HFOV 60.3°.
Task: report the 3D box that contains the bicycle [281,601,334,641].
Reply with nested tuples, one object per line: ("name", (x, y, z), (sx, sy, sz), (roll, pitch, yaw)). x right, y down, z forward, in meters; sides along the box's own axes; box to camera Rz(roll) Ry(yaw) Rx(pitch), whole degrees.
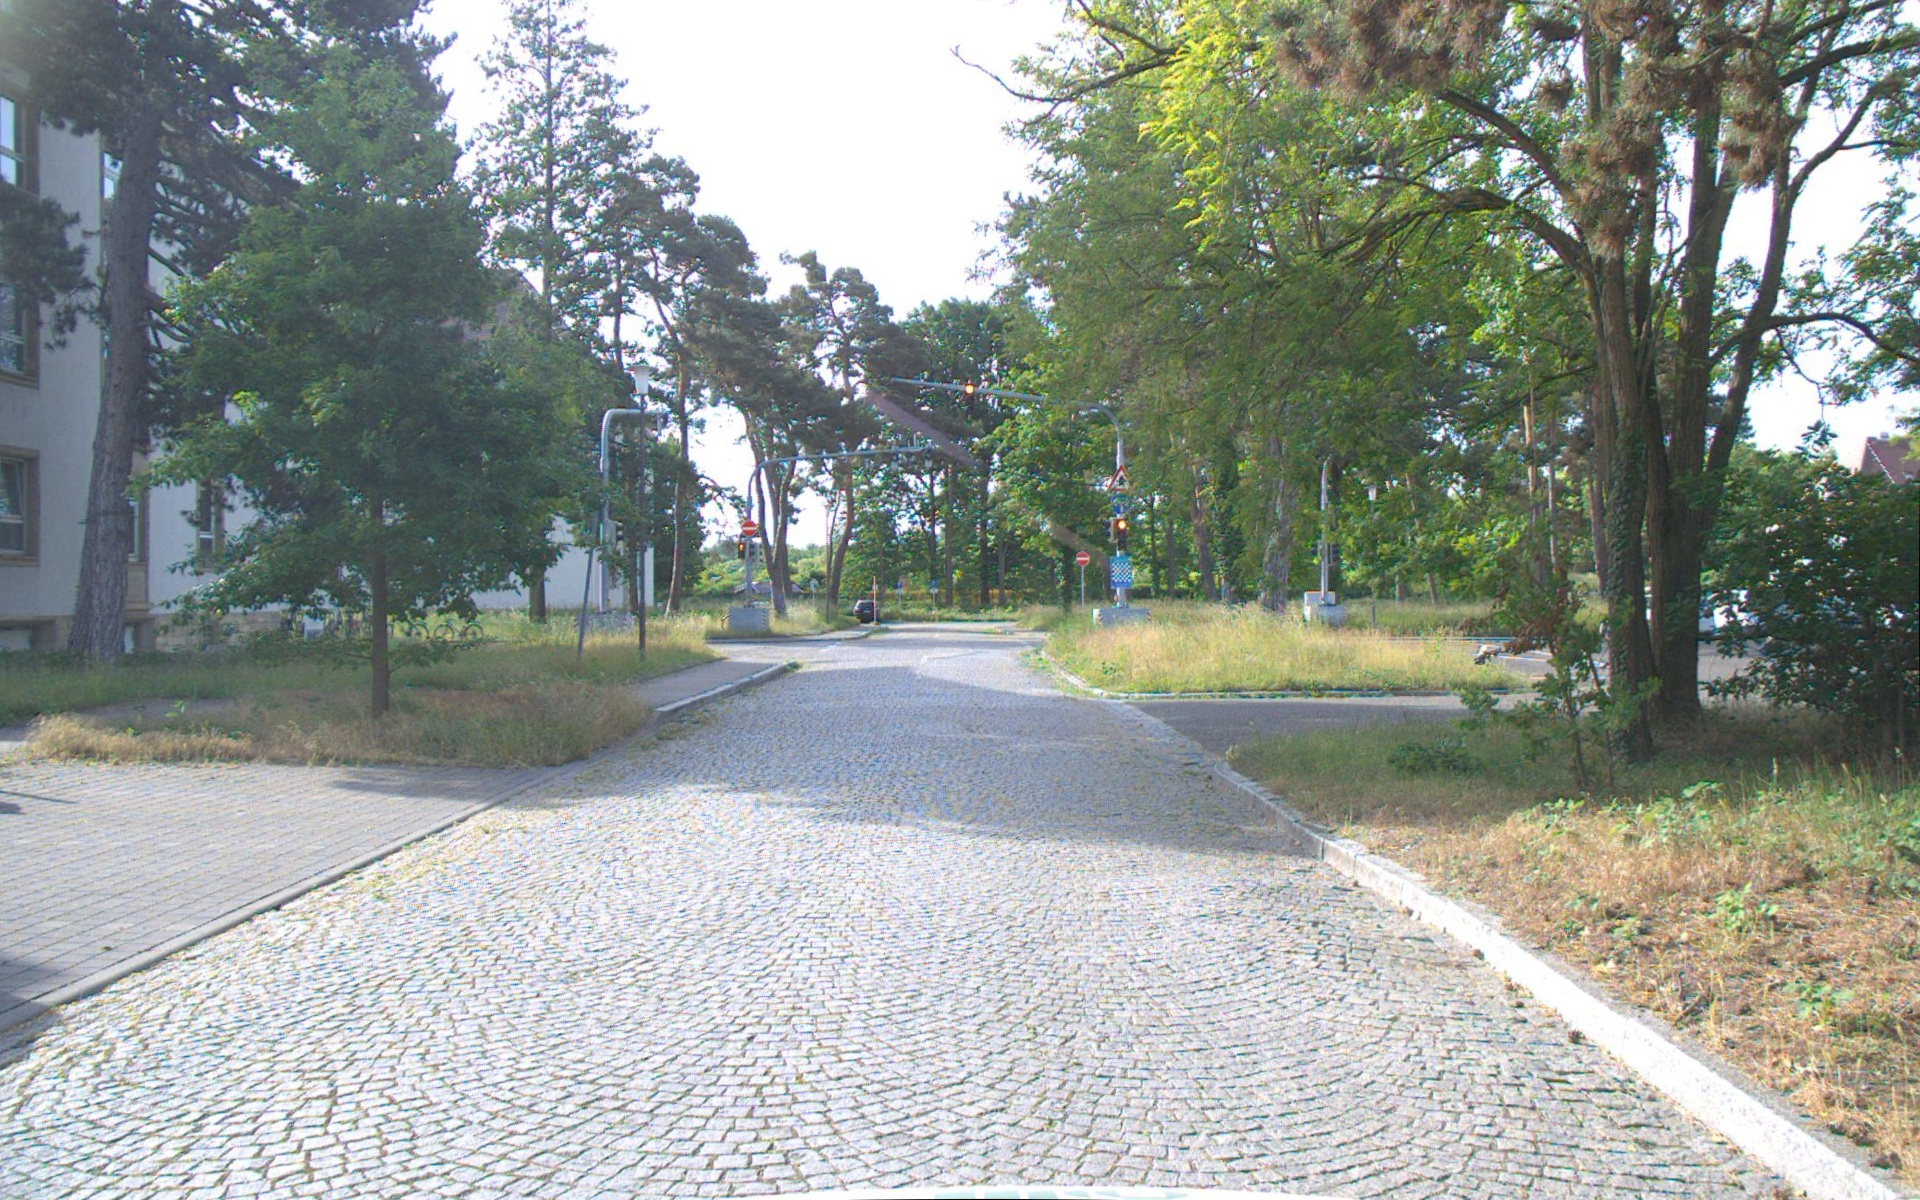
("bicycle", (-22.246, 0.703, 56.431), (0.809, 1.303, 2.553), (0, 0, 0))

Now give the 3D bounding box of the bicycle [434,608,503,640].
("bicycle", (-16.425, 0.795, 55.347), (2.075, 1.065, 0.828), (0, 0, -4))

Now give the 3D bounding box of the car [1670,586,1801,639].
("car", (23.279, 0.362, 49.811), (1.696, 1.502, 4.328), (0, 0, -4))

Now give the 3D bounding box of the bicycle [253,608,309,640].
("bicycle", (-23.130, 0.806, 56.420), (0.882, 1.065, 2.553), (0, 0, -1))

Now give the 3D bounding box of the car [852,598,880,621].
("car", (-6.409, 0.648, 112.903), (1.808, 1.512, 3.998), (0, 0, -3))

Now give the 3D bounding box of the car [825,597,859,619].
("car", (-8.350, 0.568, 117.650), (1.745, 1.516, 3.758), (0, 0, 7))

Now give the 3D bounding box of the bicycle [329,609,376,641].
("bicycle", (-20.711, 0.850, 56.409), (0.809, 1.065, 2.124), (0, 0, -1))

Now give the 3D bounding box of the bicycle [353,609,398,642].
("bicycle", (-19.944, 0.865, 56.461), (0.809, 1.065, 2.124), (0, 0, -1))

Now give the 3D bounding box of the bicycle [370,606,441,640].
("bicycle", (-18.508, 0.758, 55.228), (2.075, 1.128, 0.828), (0, 0, -4))

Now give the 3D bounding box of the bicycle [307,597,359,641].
("bicycle", (-21.489, 0.624, 56.742), (0.809, 1.462, 2.553), (0, 0, 0))
